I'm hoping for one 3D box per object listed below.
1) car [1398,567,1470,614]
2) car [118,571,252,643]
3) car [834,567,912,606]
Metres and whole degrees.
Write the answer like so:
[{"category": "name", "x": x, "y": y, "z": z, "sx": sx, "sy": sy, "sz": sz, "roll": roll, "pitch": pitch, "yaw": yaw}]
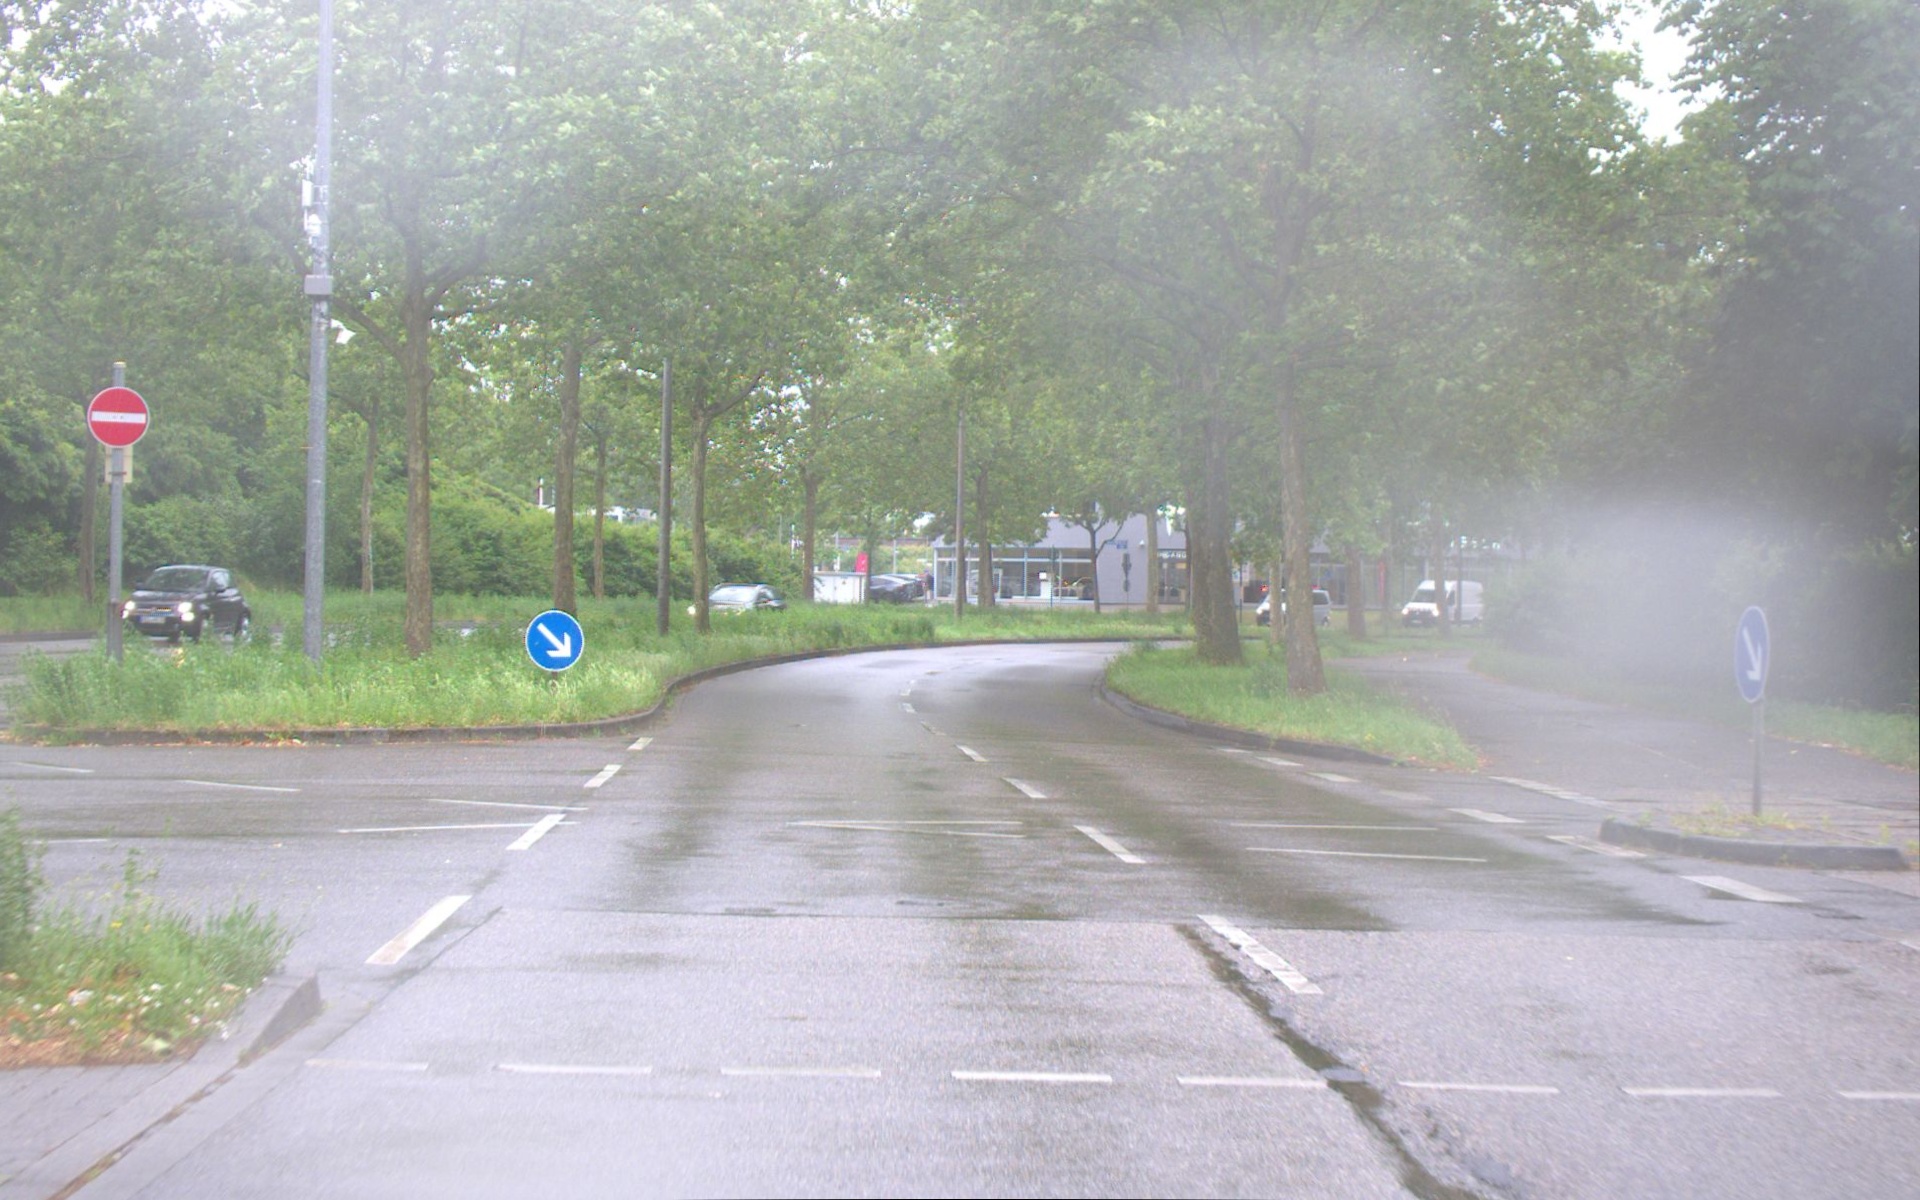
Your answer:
[{"category": "car", "x": 23.383, "y": -0.477, "z": 169.467, "sx": 2.284, "sy": 2.264, "sz": 5.962, "roll": 1, "pitch": 0, "yaw": 20}, {"category": "car", "x": -15.261, "y": 0.120, "z": 67.902, "sx": 1.587, "sy": 1.368, "sz": 4.262, "roll": 1, "pitch": 0, "yaw": 1}, {"category": "car", "x": -4.783, "y": -0.705, "z": 187.709, "sx": 3.986, "sy": 2.007, "sz": 2.000, "roll": 1, "pitch": -1, "yaw": -9}]
